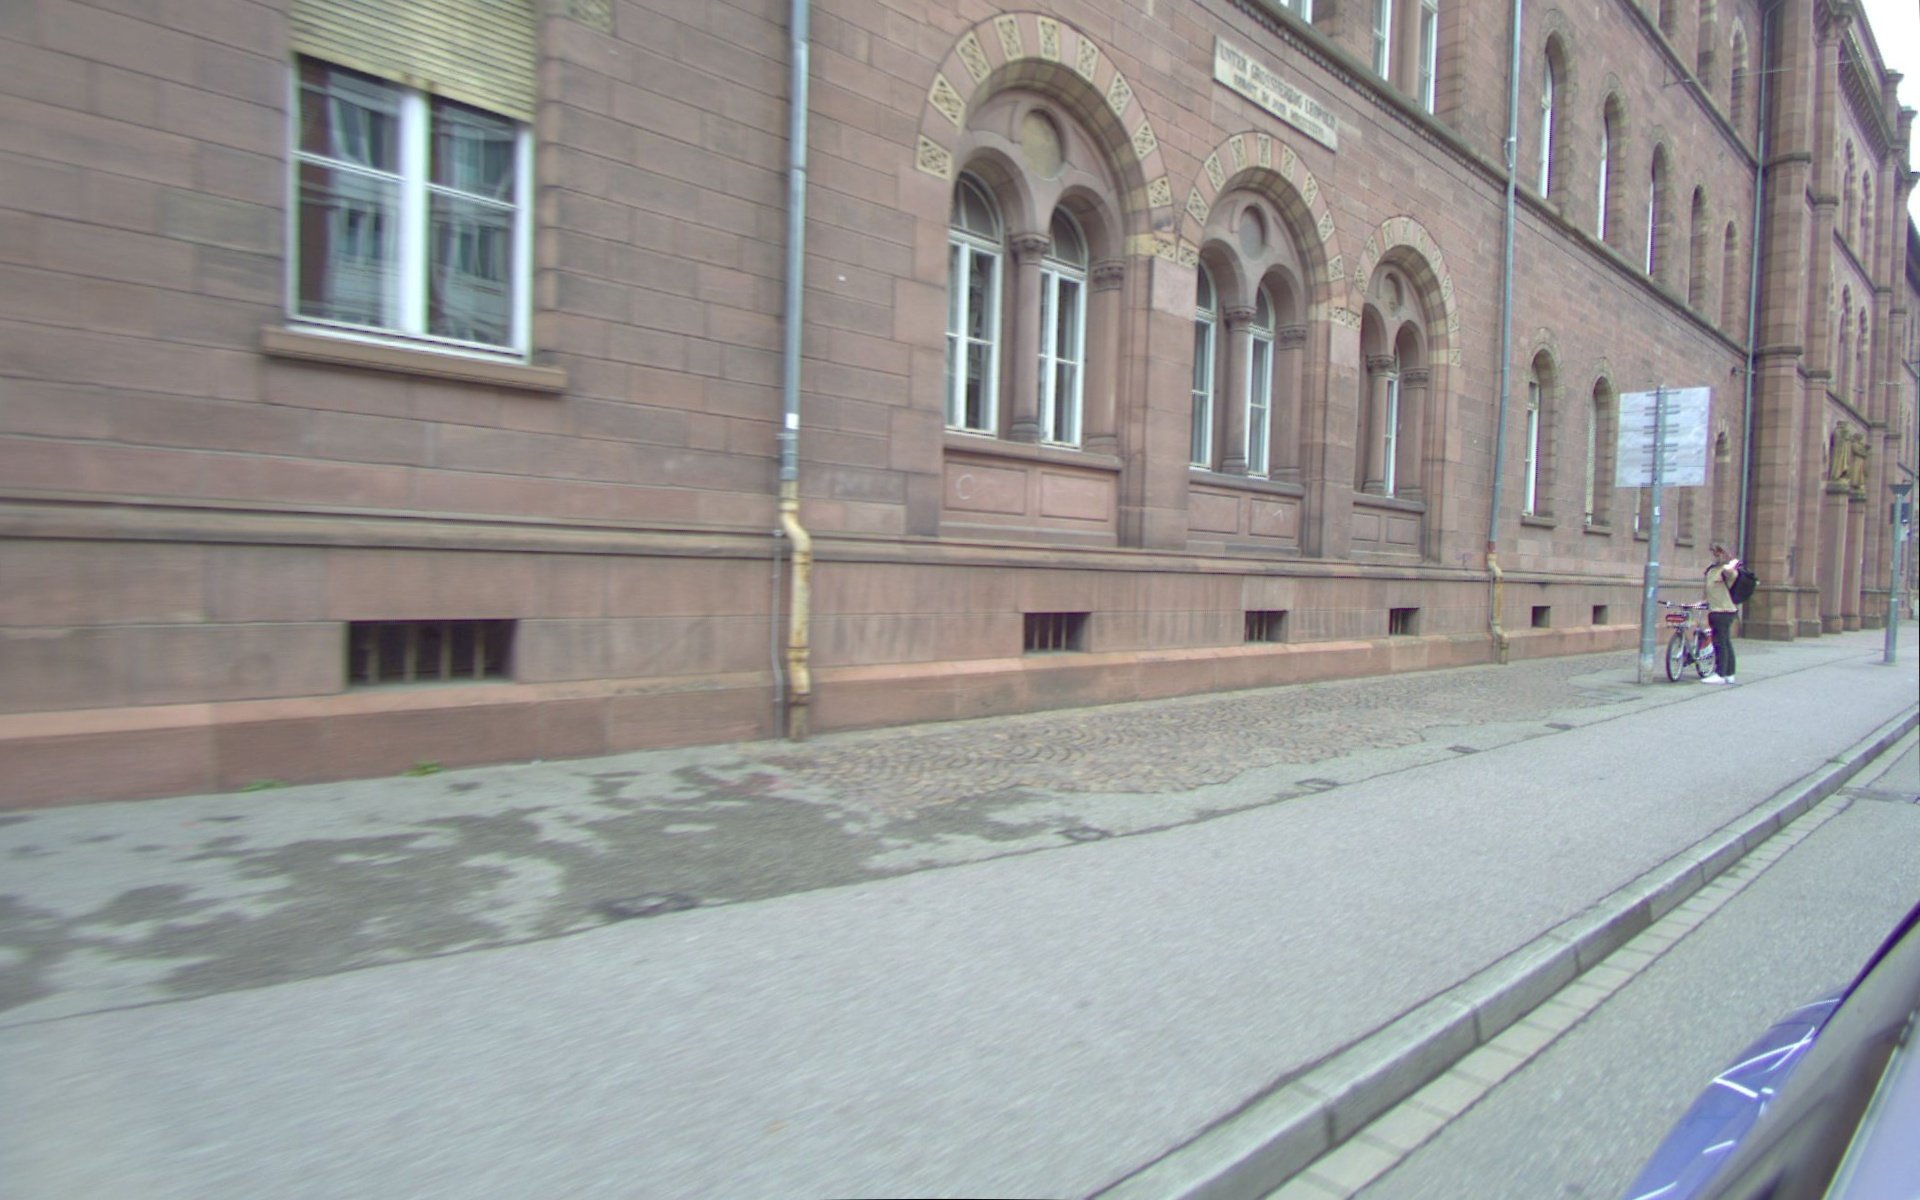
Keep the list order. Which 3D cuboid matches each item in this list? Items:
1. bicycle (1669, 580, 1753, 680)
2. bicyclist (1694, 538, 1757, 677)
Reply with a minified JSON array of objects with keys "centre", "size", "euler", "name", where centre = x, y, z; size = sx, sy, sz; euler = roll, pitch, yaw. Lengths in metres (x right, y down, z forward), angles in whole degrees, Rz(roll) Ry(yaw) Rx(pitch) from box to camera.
[{"centre":[10.562,0.385,14.203],"size":[2.188,1.291,0.446],"euler":[-1,4,-42],"name":"bicycle"},{"centre":[10.613,0.089,14.035],"size":[0.443,1.880,0.530],"euler":[0,3,-41],"name":"bicyclist"}]
